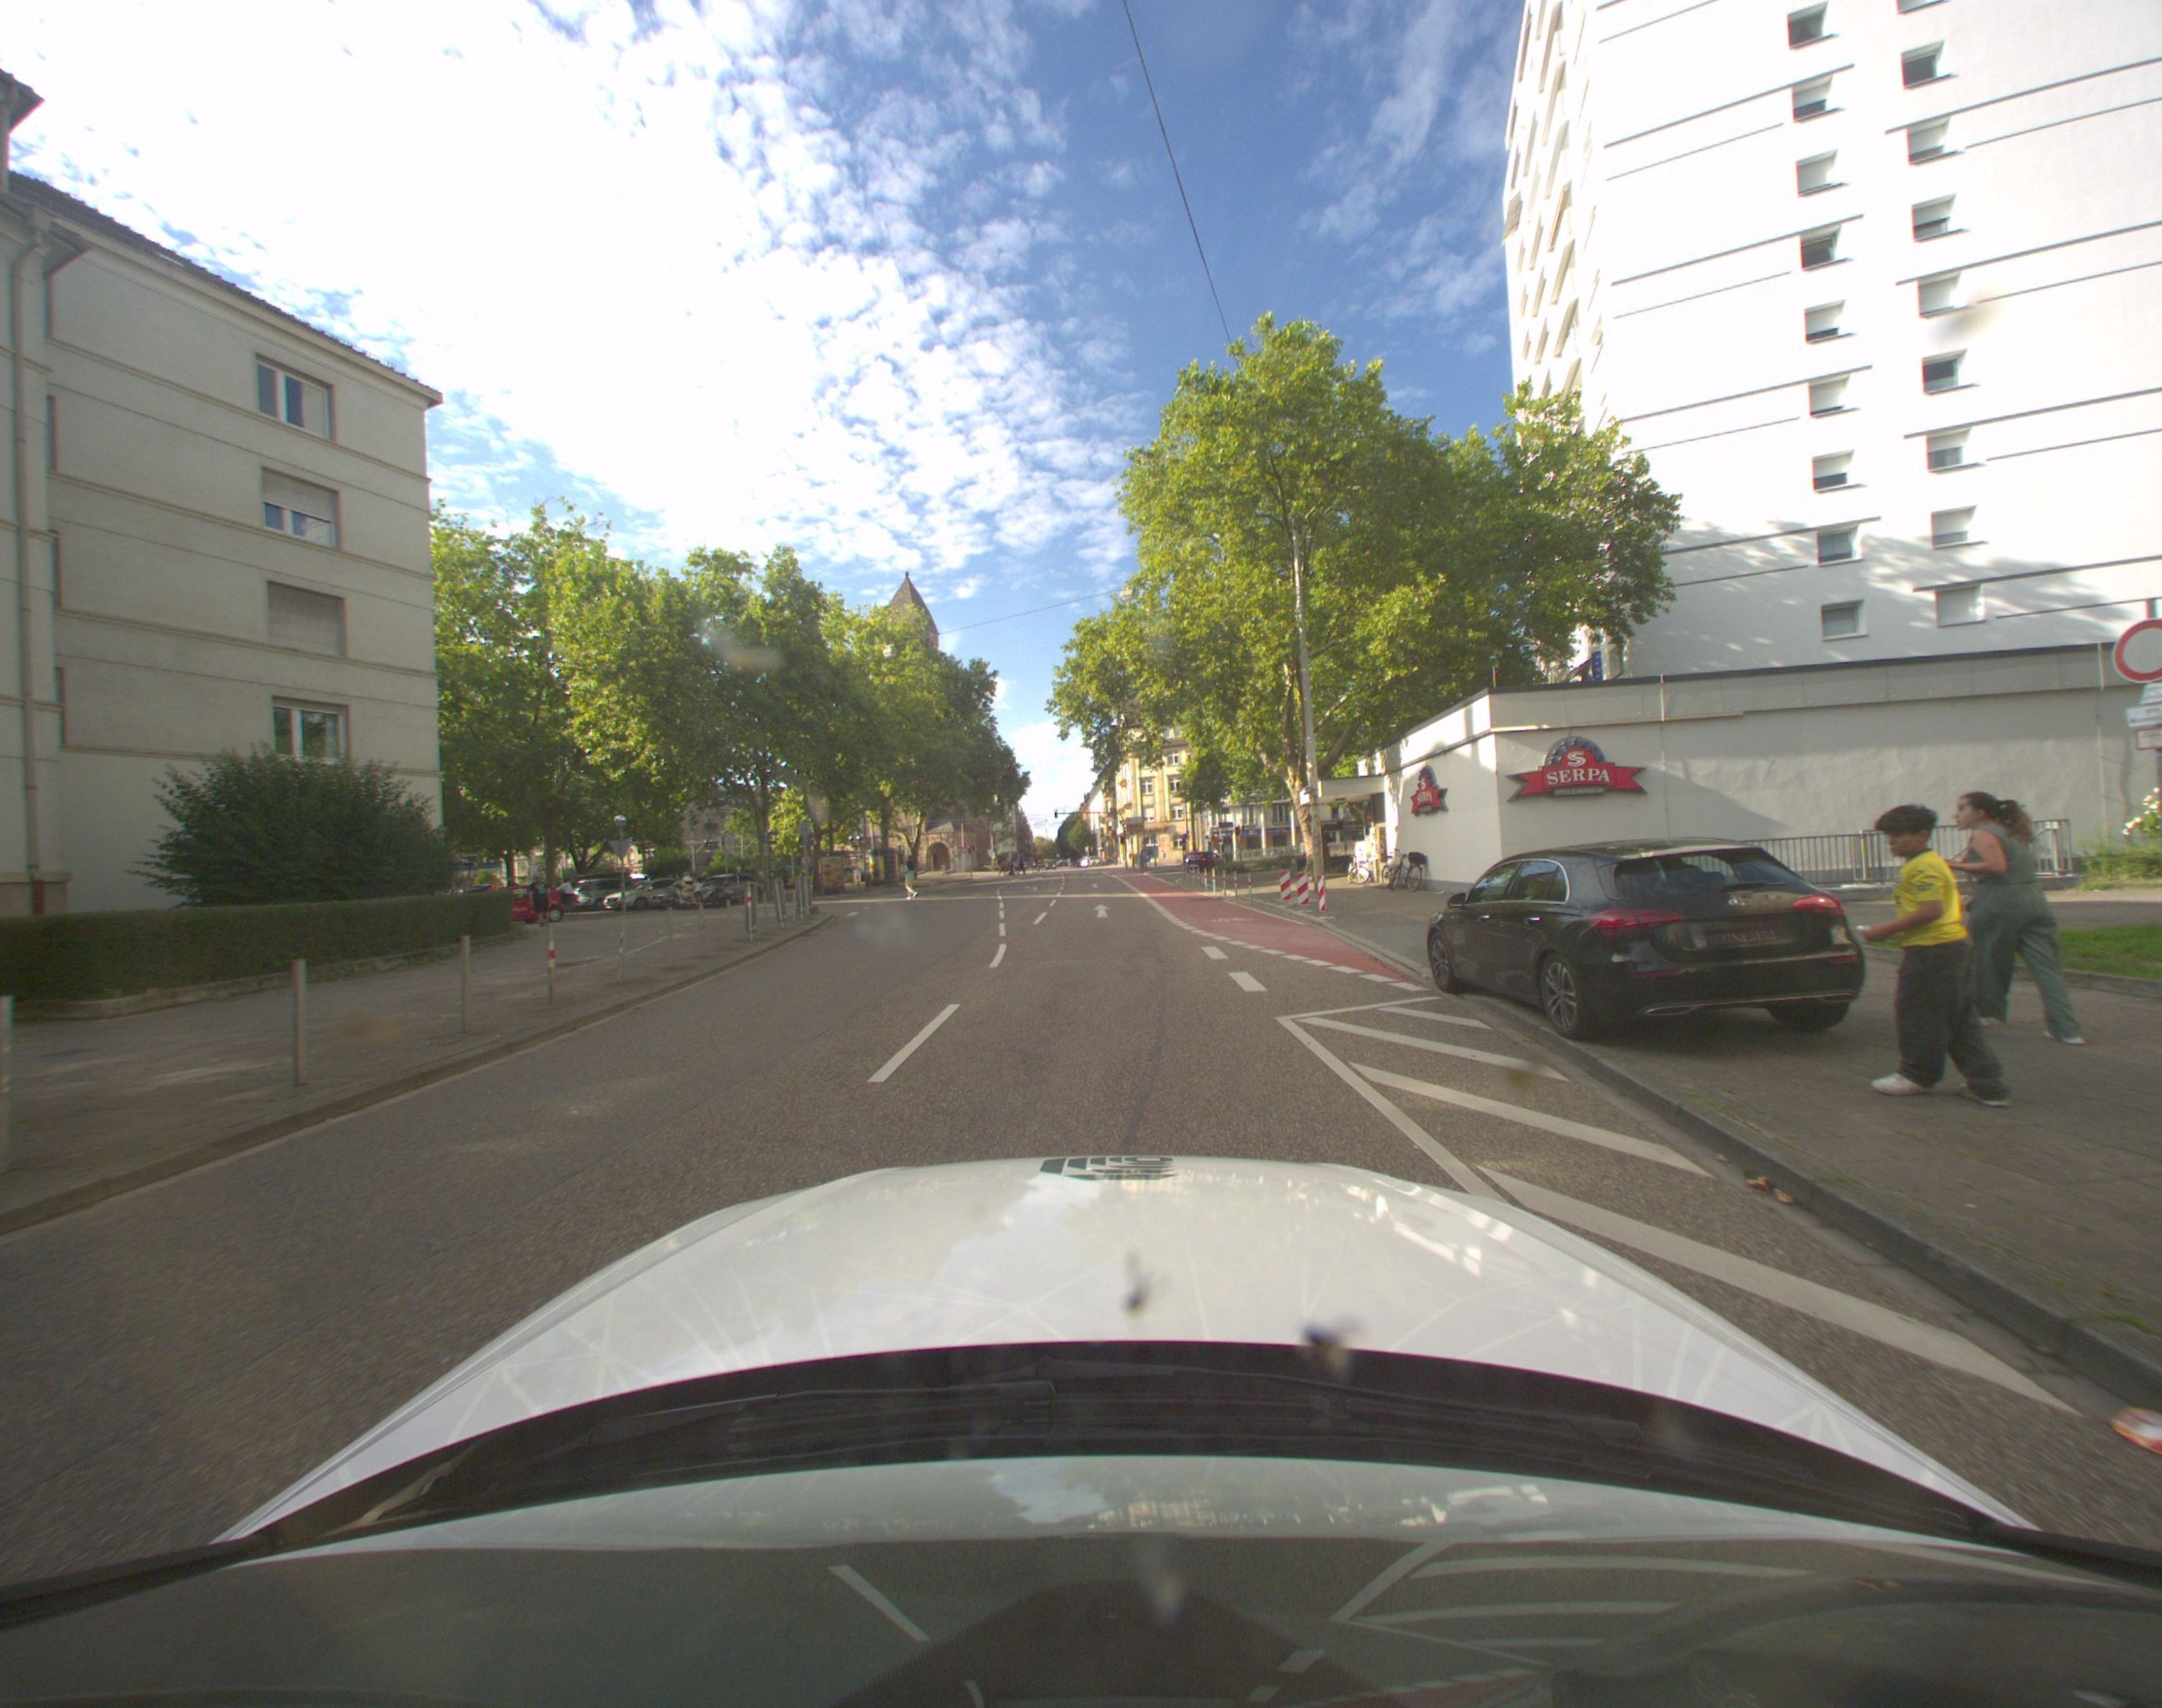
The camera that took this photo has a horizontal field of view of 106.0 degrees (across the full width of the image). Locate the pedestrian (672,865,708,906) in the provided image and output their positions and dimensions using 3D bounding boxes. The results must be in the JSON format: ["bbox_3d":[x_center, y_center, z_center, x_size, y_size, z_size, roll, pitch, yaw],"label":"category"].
[{"bbox_3d":[-16.579,1.320,34.547,1.069,1.654,0.816,-3,-1,0],"label":"pedestrian"}]

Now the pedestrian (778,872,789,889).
[{"bbox_3d":[-23.784,2.108,65.180,0.725,1.288,0.811,0,-1,-27],"label":"pedestrian"}]

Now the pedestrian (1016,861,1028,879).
[{"bbox_3d":[-5.723,1.517,78.568,0.774,1.662,0.783,-3,0,21],"label":"pedestrian"}]

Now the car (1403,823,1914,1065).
[{"bbox_3d":[4.450,0.581,7.243,1.752,1.411,4.239,-4,-1,5],"label":"car"}]

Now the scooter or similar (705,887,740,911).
[{"bbox_3d":[-15.148,1.891,34.425,1.005,0.923,0.810,-3,0,9],"label":"scooter or similar"}]

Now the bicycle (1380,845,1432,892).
[{"bbox_3d":[8.944,0.382,22.488,0.765,1.206,1.818,-5,-1,5],"label":"bicycle"}]

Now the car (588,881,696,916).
[{"bbox_3d":[-22.042,2.184,41.139,1.653,1.377,4.863,-3,0,20],"label":"car"}]

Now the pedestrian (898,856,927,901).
[{"bbox_3d":[-6.960,1.001,33.599,1.076,1.753,0.914,-2,-1,-15],"label":"pedestrian"}]

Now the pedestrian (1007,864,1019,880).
[{"bbox_3d":[-6.450,1.720,77.333,0.774,1.432,0.735,-3,0,22],"label":"pedestrian"}]

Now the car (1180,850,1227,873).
[{"bbox_3d":[8.624,0.516,57.212,1.735,1.413,4.026,-3,0,32],"label":"car"}]

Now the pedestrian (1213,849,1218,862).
[{"bbox_3d":[17.072,0.176,103.436,0.491,1.714,0.530,-1,-1,22],"label":"pedestrian"}]

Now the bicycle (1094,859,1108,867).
[{"bbox_3d":[2.954,1.371,119.991,2.024,1.082,0.628,-3,0,-12],"label":"bicycle"}]

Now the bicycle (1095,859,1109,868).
[{"bbox_3d":[3.085,1.388,119.349,2.024,1.082,0.618,-3,0,-12],"label":"bicycle"}]

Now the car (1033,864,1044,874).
[{"bbox_3d":[-9.522,3.303,182.165,1.986,2.013,4.002,-3,0,2],"label":"car"}]

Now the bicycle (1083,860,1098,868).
[{"bbox_3d":[1.428,1.472,119.318,2.024,1.082,0.618,-3,0,-12],"label":"bicycle"}]

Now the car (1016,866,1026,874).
[{"bbox_3d":[-11.477,3.036,154.867,1.545,1.230,3.588,-2,0,1],"label":"car"}]

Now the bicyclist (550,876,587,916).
[{"bbox_3d":[-22.631,1.835,35.977,1.100,1.691,0.819,-3,0,22],"label":"bicyclist"}]

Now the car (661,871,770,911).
[{"bbox_3d":[-17.598,1.744,39.529,2.218,1.585,4.992,-3,0,13],"label":"car"}]

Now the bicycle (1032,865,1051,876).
[{"bbox_3d":[-3.976,1.653,81.973,1.813,0.955,0.576,-3,-1,24],"label":"bicycle"}]

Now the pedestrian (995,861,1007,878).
[{"bbox_3d":[-7.749,1.484,78.803,0.807,1.629,0.608,-4,0,22],"label":"pedestrian"}]

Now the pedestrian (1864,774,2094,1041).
[{"bbox_3d":[5.965,0.335,5.459,0.650,1.645,0.743,-2,-1,1],"label":"pedestrian"}]

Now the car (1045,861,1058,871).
[{"bbox_3d":[-4.669,1.890,129.313,1.944,1.372,3.997,-3,0,-2],"label":"car"}]

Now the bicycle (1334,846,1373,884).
[{"bbox_3d":[9.391,0.386,28.111,0.709,1.206,1.817,-6,-1,3],"label":"bicycle"}]

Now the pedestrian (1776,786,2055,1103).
[{"bbox_3d":[4.488,0.453,4.444,0.650,1.538,0.743,-4,-1,1],"label":"pedestrian"}]

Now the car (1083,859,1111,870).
[{"bbox_3d":[2.411,1.536,121.673,3.981,1.420,1.996,-3,-1,-6],"label":"car"}]

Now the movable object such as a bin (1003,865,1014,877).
[{"bbox_3d":[-6.994,1.611,78.521,0.830,1.123,0.578,-3,-1,21],"label":"movable object such as a bin"}]

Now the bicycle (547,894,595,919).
[{"bbox_3d":[-22.489,2.324,35.892,1.903,0.994,0.767,-3,0,22],"label":"bicycle"}]

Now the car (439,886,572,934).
[{"bbox_3d":[-21.322,2.037,30.336,1.577,1.477,3.727,-3,0,23],"label":"car"}]

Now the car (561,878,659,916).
[{"bbox_3d":[-24.510,2.212,42.583,1.664,1.616,4.298,-3,0,20],"label":"car"}]

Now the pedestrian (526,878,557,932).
[{"bbox_3d":[-16.459,1.544,24.841,0.737,1.578,0.724,-3,-1,-35],"label":"pedestrian"}]

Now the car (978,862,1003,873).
[{"bbox_3d":[-16.138,2.420,145.139,4.022,1.596,1.847,-3,0,-41],"label":"car"}]

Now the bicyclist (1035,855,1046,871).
[{"bbox_3d":[-4.090,0.925,82.023,0.771,1.579,0.629,-3,-1,24],"label":"bicyclist"}]

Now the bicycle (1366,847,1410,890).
[{"bbox_3d":[9.146,0.424,24.306,0.707,1.206,1.773,-3,0,5],"label":"bicycle"}]
